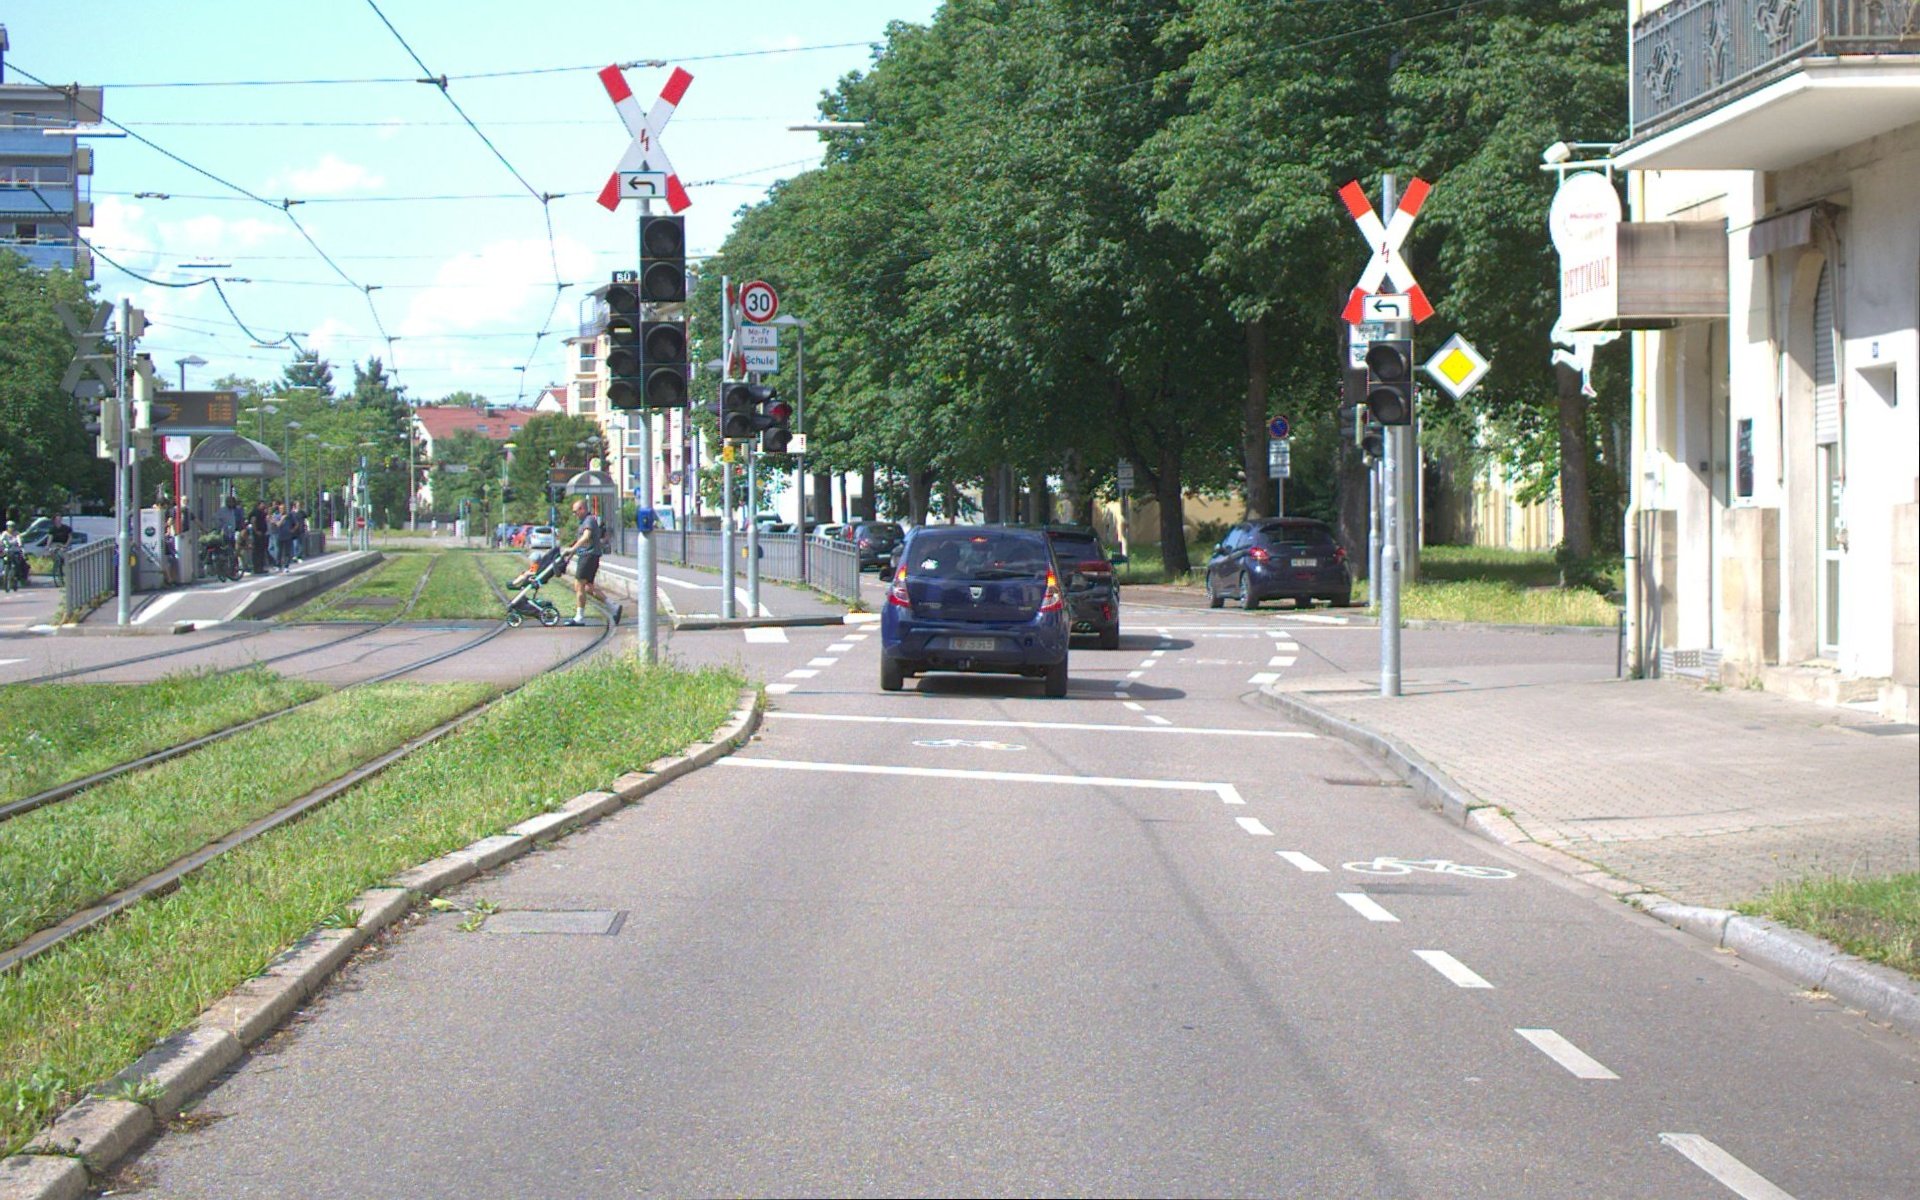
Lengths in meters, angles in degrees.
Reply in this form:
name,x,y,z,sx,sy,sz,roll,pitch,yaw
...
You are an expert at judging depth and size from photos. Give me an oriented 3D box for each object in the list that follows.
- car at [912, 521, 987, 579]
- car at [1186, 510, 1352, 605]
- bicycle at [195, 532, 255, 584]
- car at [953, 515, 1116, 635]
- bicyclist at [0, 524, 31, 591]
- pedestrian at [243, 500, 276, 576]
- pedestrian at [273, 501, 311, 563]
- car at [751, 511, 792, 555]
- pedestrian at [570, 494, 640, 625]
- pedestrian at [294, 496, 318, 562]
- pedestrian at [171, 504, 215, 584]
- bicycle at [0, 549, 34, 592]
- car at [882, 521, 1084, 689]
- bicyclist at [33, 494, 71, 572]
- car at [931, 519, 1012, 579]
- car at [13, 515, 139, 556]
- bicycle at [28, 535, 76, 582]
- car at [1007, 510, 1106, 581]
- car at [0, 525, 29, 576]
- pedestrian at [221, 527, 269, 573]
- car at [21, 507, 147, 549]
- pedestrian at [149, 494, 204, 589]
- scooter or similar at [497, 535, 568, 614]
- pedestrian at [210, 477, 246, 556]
name,x,y,z,sx,sy,sz,roll,pitch,yaw
car,-0.302,-1.359,92.453,1.851,1.510,4.001,0,1,-2
car,4.923,-0.707,55.290,1.765,1.428,3.905,-1,1,-8
bicycle,-14.495,-0.832,67.856,0.686,0.971,1.771,-3,2,2
car,0.855,-0.324,41.359,1.700,1.363,3.515,1,1,-3
bicyclist,-22.680,-1.022,82.094,0.785,1.576,0.864,-1,1,-4
pedestrian,-16.251,-1.447,79.757,0.604,1.760,0.639,0,1,2
pedestrian,-15.659,-1.598,80.589,0.655,1.421,0.562,0,2,30
car,-7.899,-2.810,143.611,1.667,1.766,4.001,0,1,-4
pedestrian,-4.919,-0.564,47.585,0.870,1.769,1.004,-2,1,-8
pedestrian,-19.735,-2.145,103.766,0.660,2.007,0.804,-1,1,-13
pedestrian,-15.213,-1.117,68.172,0.663,1.564,0.686,-2,1,0
bicycle,-22.721,-0.709,82.196,0.680,0.967,2.179,-1,1,-4
car,0.193,0.001,31.937,1.768,1.457,3.776,0,1,0
bicyclist,-23.656,-1.758,89.575,0.947,2.007,1.577,0,1,-15
car,0.262,-1.323,87.888,1.861,1.440,4.001,-2,1,-2
car,-30.247,-2.210,117.706,1.637,1.381,3.991,1,2,37
bicycle,-23.670,-1.090,89.623,1.153,1.173,1.788,-2,1,-14
car,2.120,-1.229,76.432,1.861,1.440,4.001,-2,2,-2
car,-27.326,-1.306,92.699,1.715,1.363,3.990,0,2,42
pedestrian,-15.772,-1.105,75.842,0.924,0.985,0.797,-2,0,-6
car,-31.294,-2.585,122.868,3.989,1.442,1.727,-2,2,-42
pedestrian,-14.363,-1.075,63.053,0.713,1.720,0.666,1,2,35
scooter or similar,-5.864,-0.352,47.180,0.954,1.061,0.797,0,1,-8
pedestrian,-15.916,-1.812,74.753,0.655,1.686,0.656,-1,1,-7
